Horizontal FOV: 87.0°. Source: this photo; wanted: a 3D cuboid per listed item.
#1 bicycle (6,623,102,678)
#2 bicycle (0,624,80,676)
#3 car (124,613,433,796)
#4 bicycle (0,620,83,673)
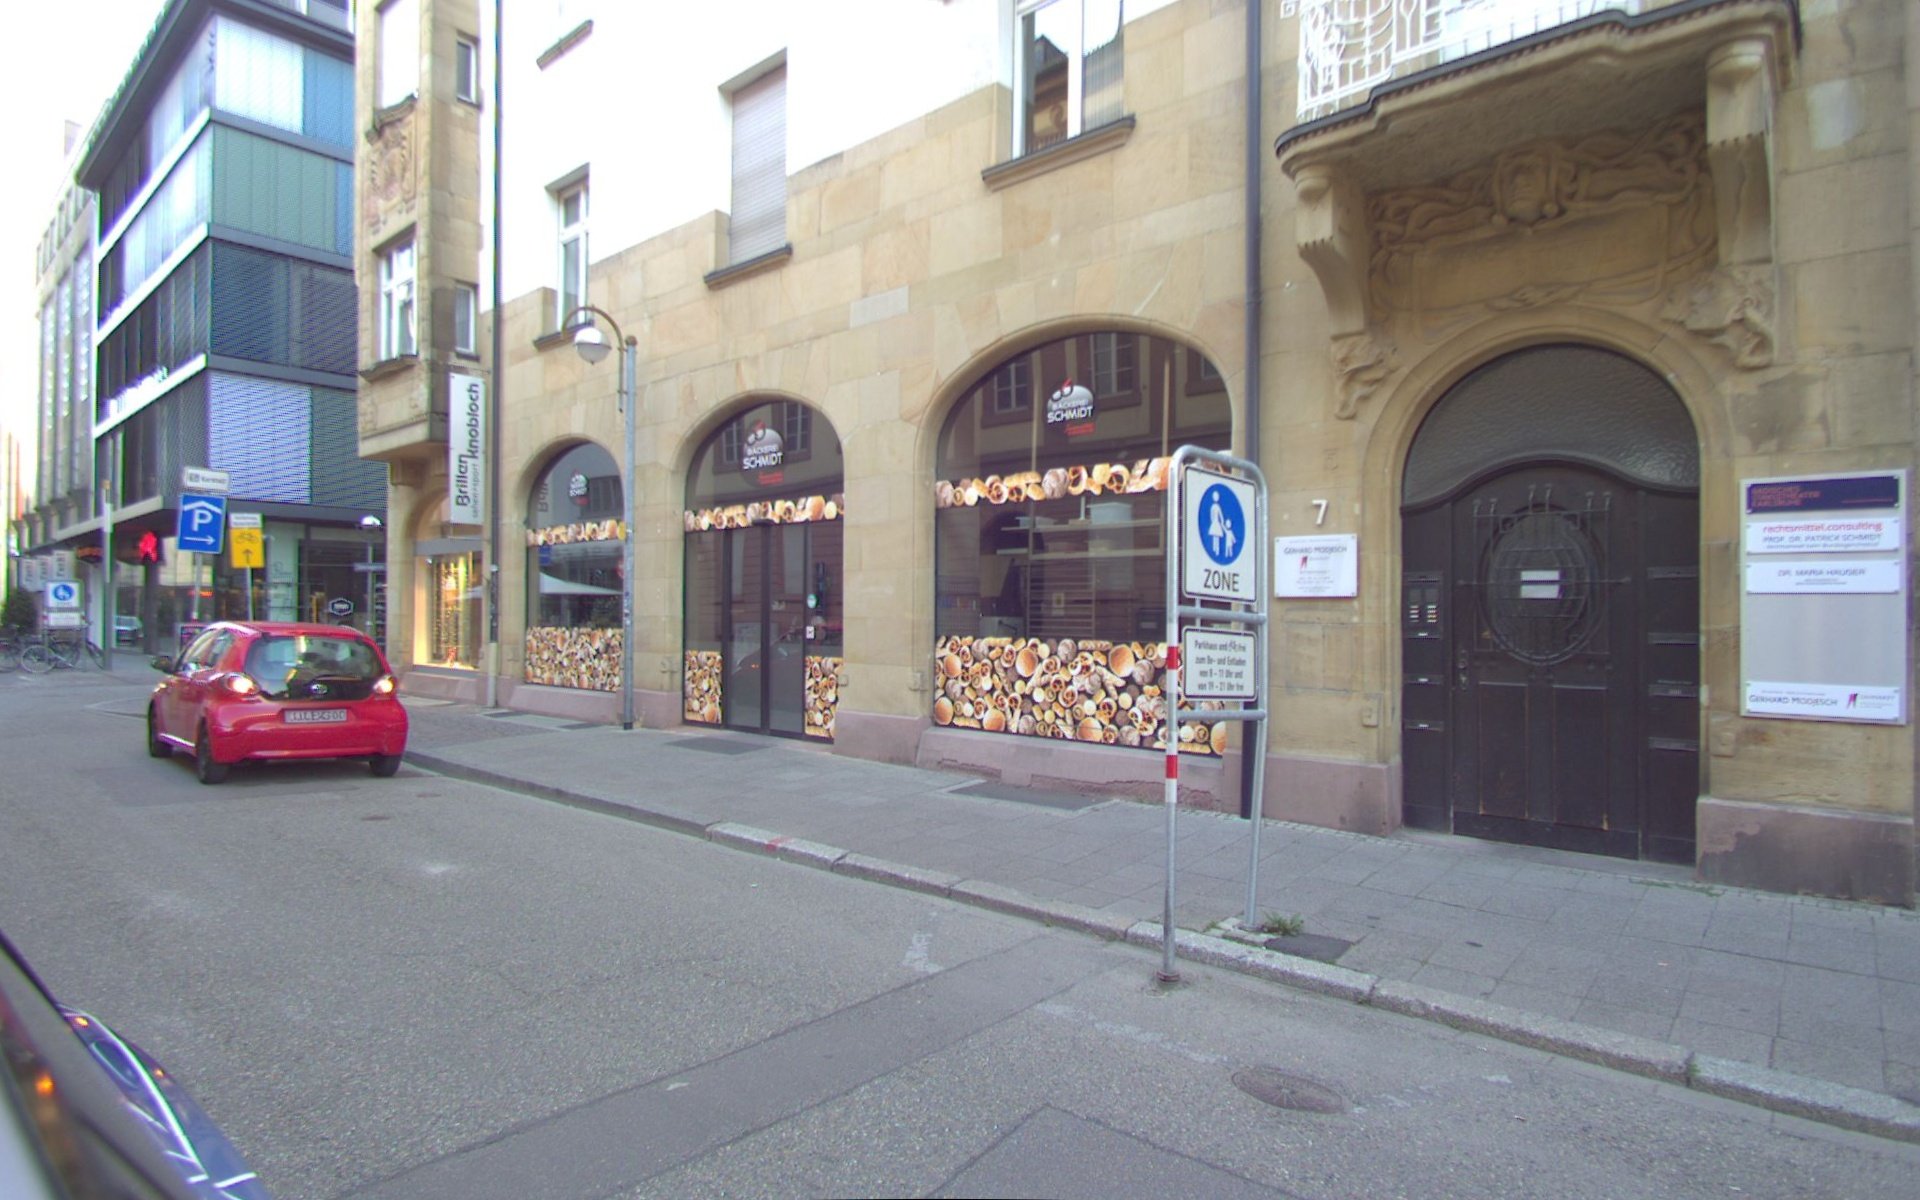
[{"bbox_3d":[-21.690,1.186,24.256,0.509,1.213,1.648,-1,0,41],"label":"bicycle"},{"bbox_3d":[-23.044,1.240,25.015,0.517,1.190,1.878,-3,-1,40],"label":"bicycle"},{"bbox_3d":[-7.026,0.947,10.282,3.931,1.481,1.640,0,-5,43],"label":"car"},{"bbox_3d":[-24.876,1.241,27.171,0.538,1.279,1.878,-1,3,42],"label":"bicycle"}]
